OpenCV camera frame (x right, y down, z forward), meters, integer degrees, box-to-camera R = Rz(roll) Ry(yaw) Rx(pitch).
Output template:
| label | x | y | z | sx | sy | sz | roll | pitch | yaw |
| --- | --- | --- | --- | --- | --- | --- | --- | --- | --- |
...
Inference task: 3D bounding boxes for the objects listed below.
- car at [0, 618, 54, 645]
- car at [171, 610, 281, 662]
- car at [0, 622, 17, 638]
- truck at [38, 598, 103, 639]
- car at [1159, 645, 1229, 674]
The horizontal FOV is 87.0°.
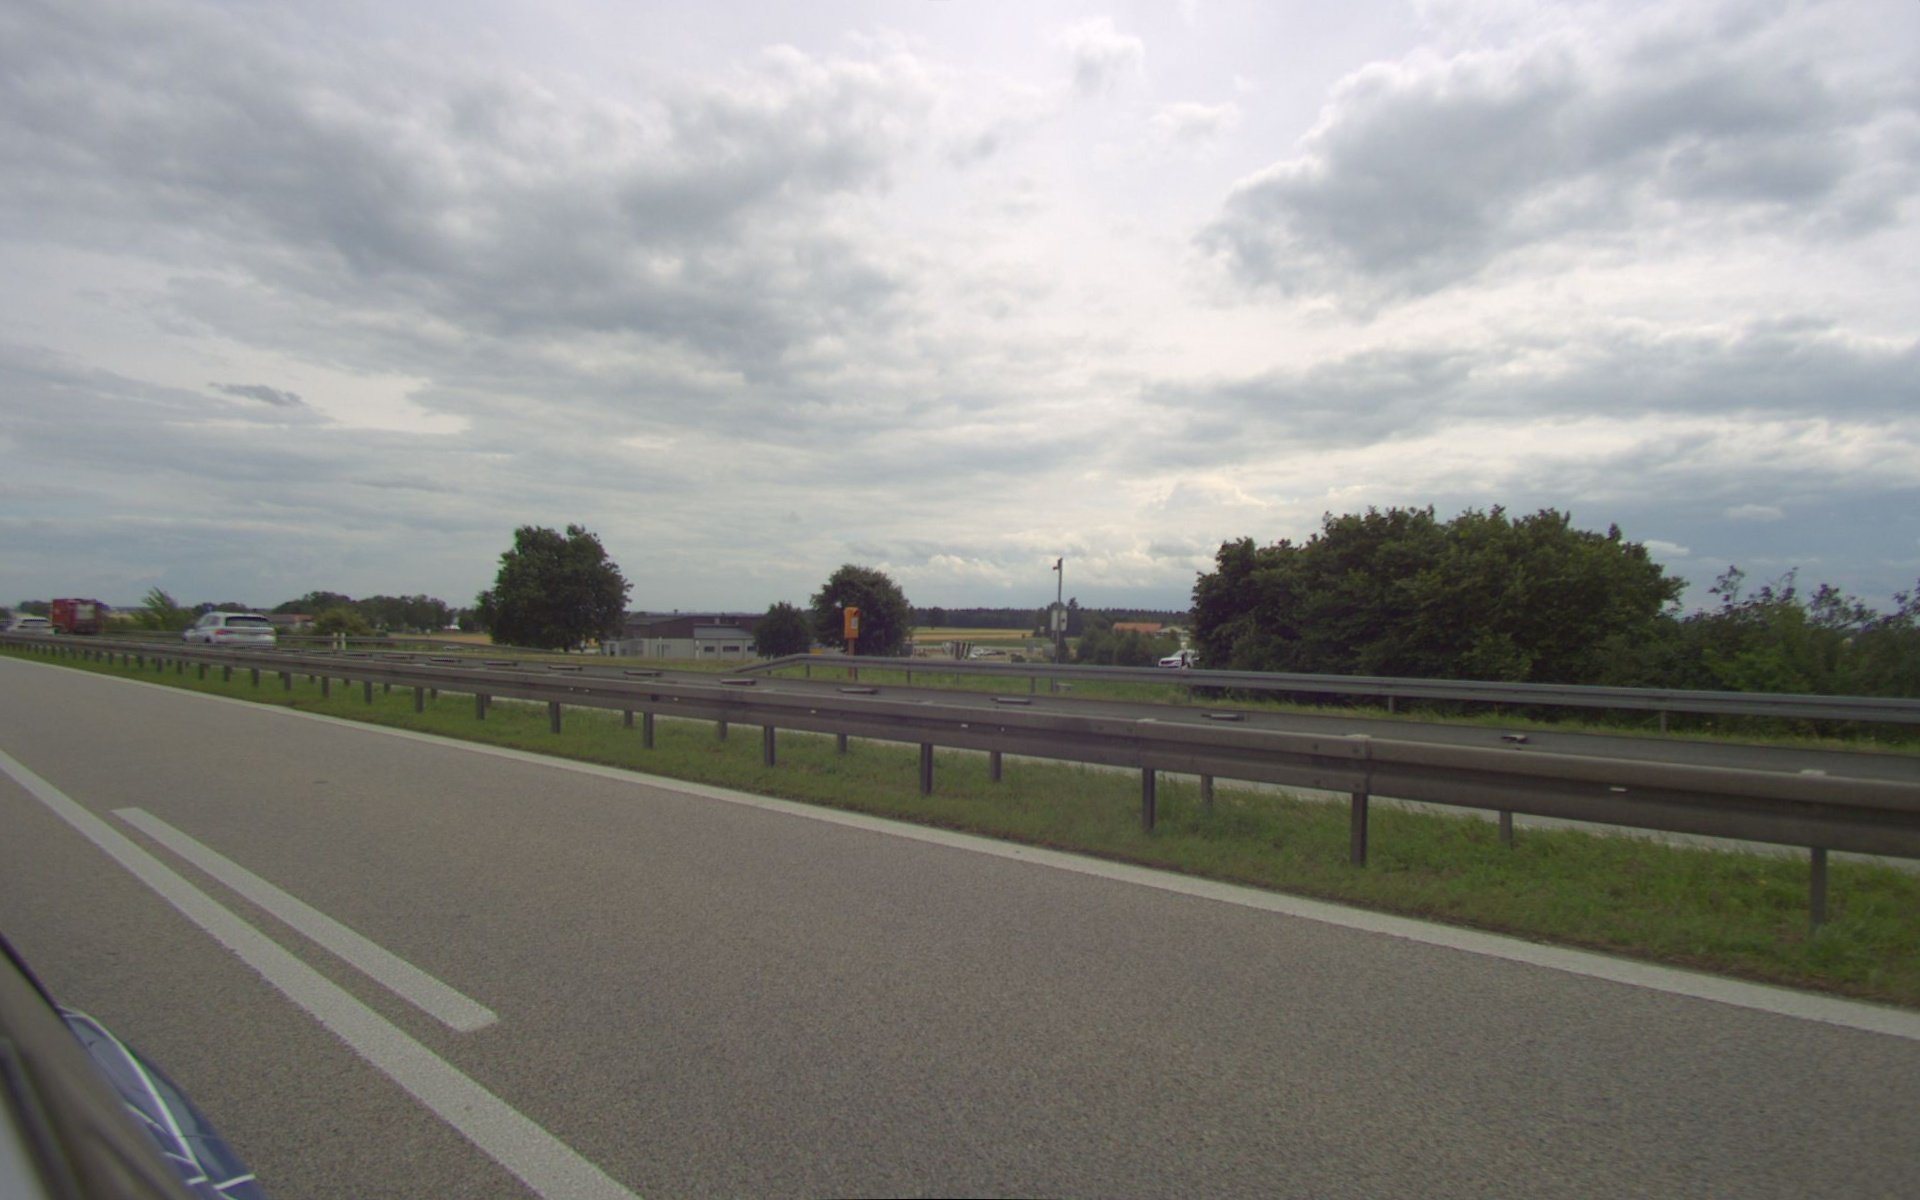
| label | x | y | z | sx | sy | sz | roll | pitch | yaw |
| --- | --- | --- | --- | --- | --- | --- | --- | --- | --- |
| car | -56.031 | 1.889 | 60.741 | 4.813 | 1.600 | 1.834 | -1 | -3 | 41 |
| car | -24.412 | 1.181 | 33.586 | 4.759 | 1.600 | 1.872 | -1 | -3 | 41 |
| car | -86.378 | 2.671 | 90.959 | 4.780 | 1.356 | 1.807 | -1 | -3 | 41 |
| truck | -82.266 | 1.725 | 93.520 | 11.067 | 3.563 | 2.642 | -1 | -3 | 39 |
| car | 14.584 | 3.665 | 62.997 | 4.222 | 1.484 | 1.924 | -2 | 1 | -35 |
